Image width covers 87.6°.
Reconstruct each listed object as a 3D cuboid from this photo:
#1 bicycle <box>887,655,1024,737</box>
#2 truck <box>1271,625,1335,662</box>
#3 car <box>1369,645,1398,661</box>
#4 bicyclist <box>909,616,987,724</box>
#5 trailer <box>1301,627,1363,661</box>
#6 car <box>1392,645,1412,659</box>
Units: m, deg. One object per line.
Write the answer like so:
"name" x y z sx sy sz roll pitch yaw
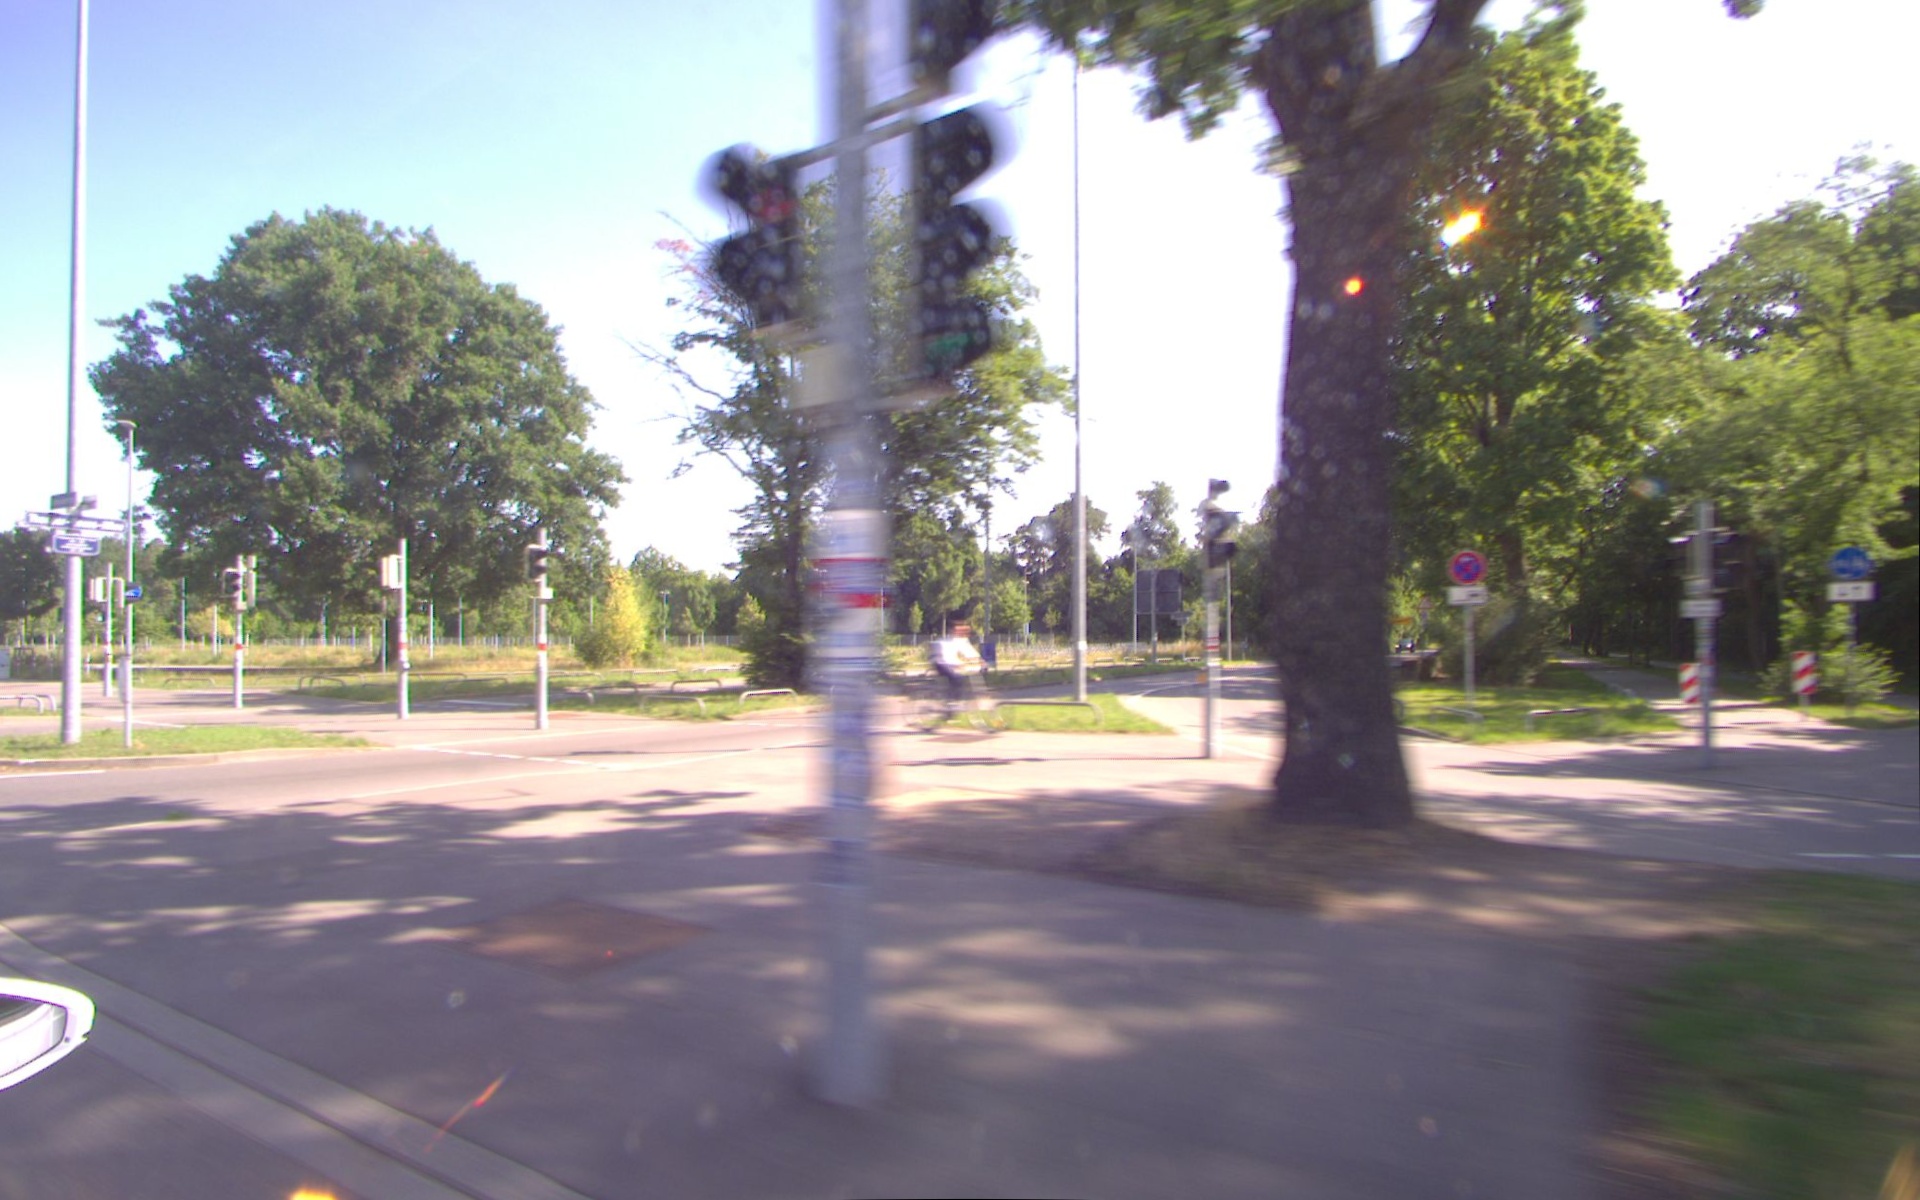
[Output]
"bicycle" -0.080 1.494 15.910 2.066 1.214 0.724 -1 -2 25
"truck" 26.609 3.346 77.617 2.649 2.752 6.157 -2 -3 40
"car" 41.744 5.198 98.594 1.822 1.502 3.976 -1 -2 35
"bicyclist" -0.191 1.093 15.954 1.041 1.660 0.724 -1 -1 25
"trailer" 30.766 3.627 82.603 2.672 2.721 6.838 -2 -3 40
"car" 51.963 6.103 117.717 1.968 1.505 3.988 -1 -2 25
